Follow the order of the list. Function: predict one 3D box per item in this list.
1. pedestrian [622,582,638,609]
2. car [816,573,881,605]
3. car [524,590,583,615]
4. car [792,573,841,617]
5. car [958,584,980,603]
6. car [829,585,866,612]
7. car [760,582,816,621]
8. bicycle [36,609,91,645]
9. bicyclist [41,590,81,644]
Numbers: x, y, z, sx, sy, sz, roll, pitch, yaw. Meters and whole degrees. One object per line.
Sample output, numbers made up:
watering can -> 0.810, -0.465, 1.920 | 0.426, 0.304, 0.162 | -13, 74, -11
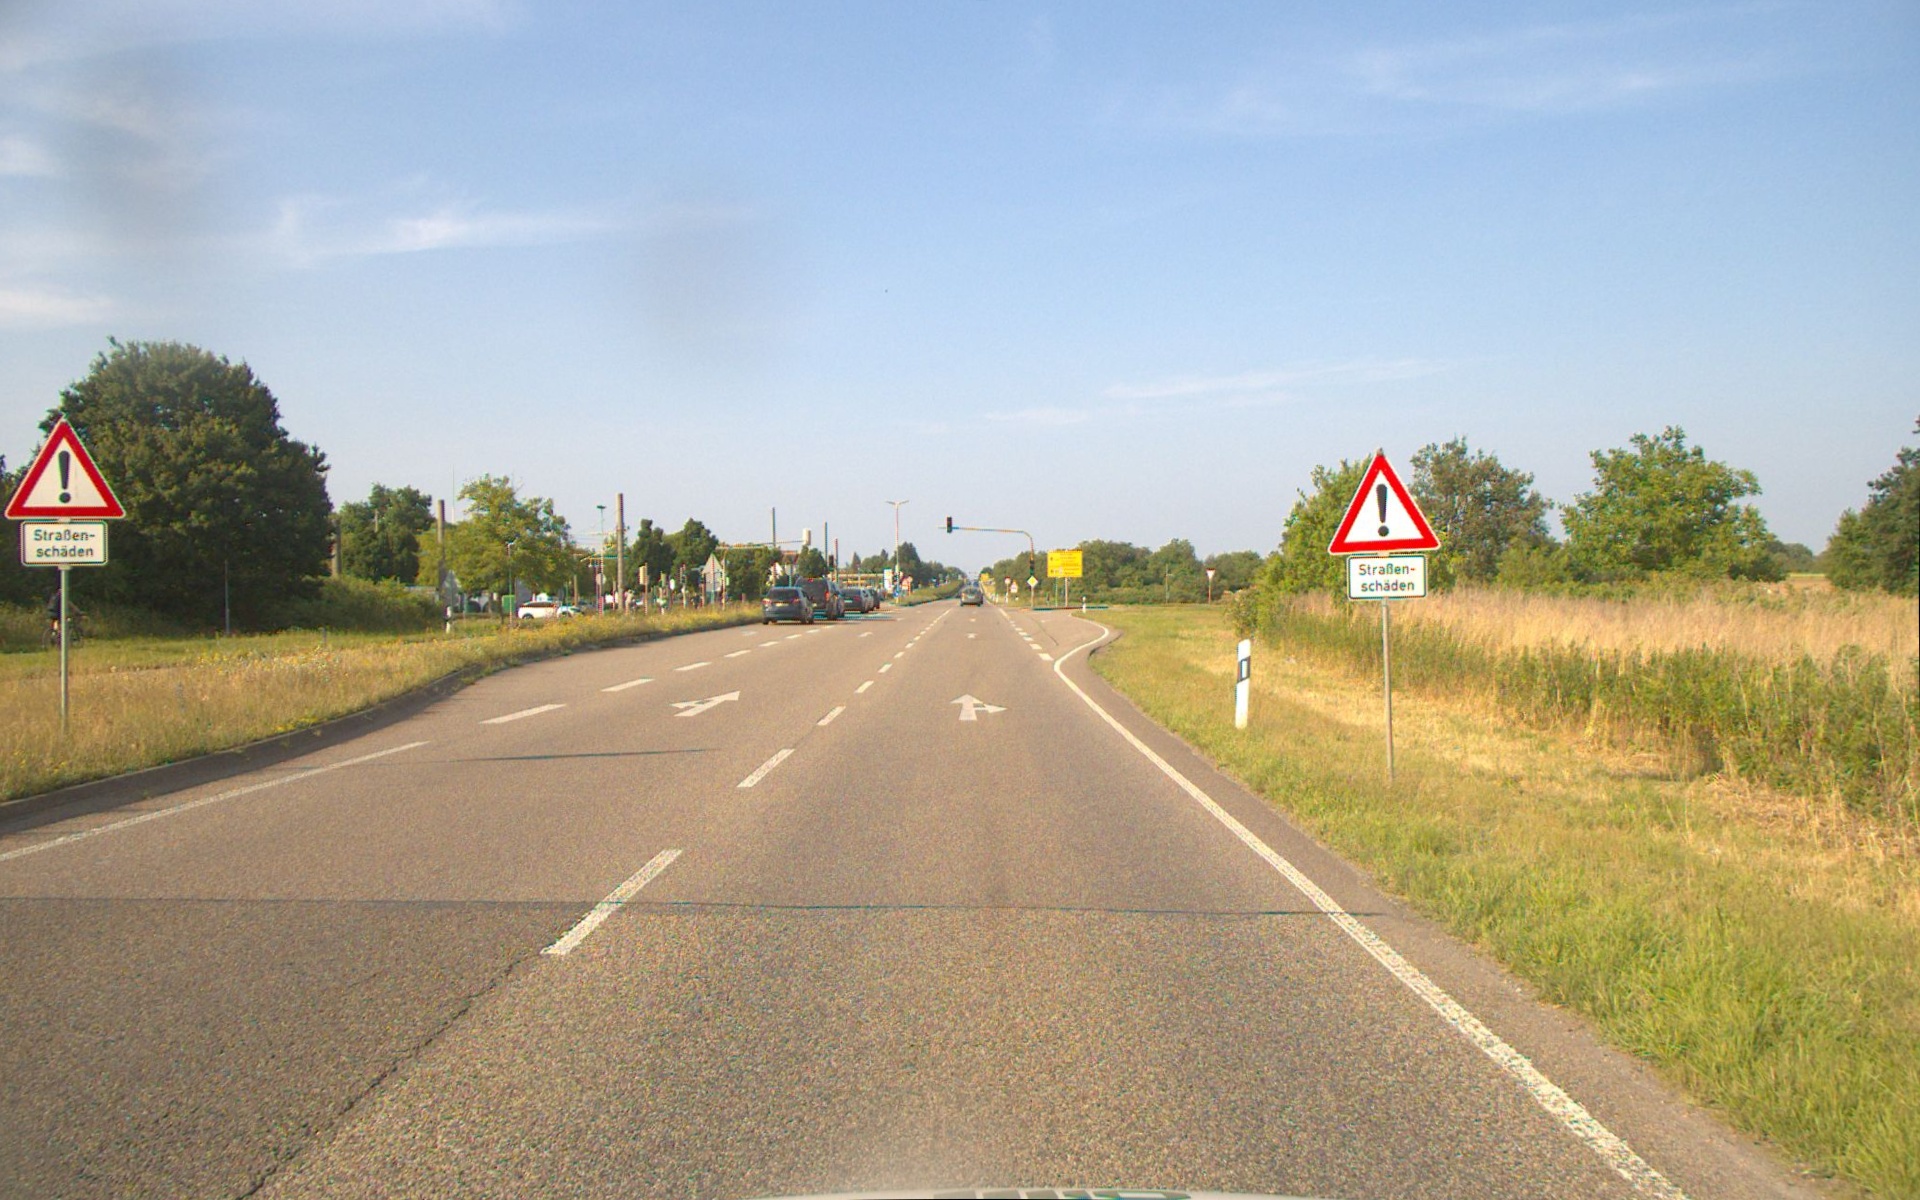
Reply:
pedestrian -> -22.200, -0.310, 111.177 | 0.897, 1.736, 1.066 | 1, -1, -5
car -> -7.916, -0.764, 117.007 | 1.985, 2.049, 4.757 | 1, -2, -44
car -> -28.701, 0.186, 116.956 | 3.916, 1.691, 1.882 | 1, -1, -12
car -> -6.376, -0.252, 73.920 | 1.696, 1.888, 4.521 | 0, 1, 1
car -> 0.806, -0.597, 147.239 | 1.952, 1.579, 4.001 | 0, 1, 1
car -> -6.402, -0.106, 94.685 | 1.733, 1.497, 4.016 | 0, 1, 1
car -> -6.902, 0.035, 66.690 | 1.696, 1.481, 4.521 | 0, 1, 1
bicycle -> -23.721, 0.699, 43.794 | 0.519, 0.893, 1.705 | 0, 0, 0
bicyclist -> -23.723, 0.444, 43.664 | 0.457, 1.414, 1.048 | 0, 0, 0
